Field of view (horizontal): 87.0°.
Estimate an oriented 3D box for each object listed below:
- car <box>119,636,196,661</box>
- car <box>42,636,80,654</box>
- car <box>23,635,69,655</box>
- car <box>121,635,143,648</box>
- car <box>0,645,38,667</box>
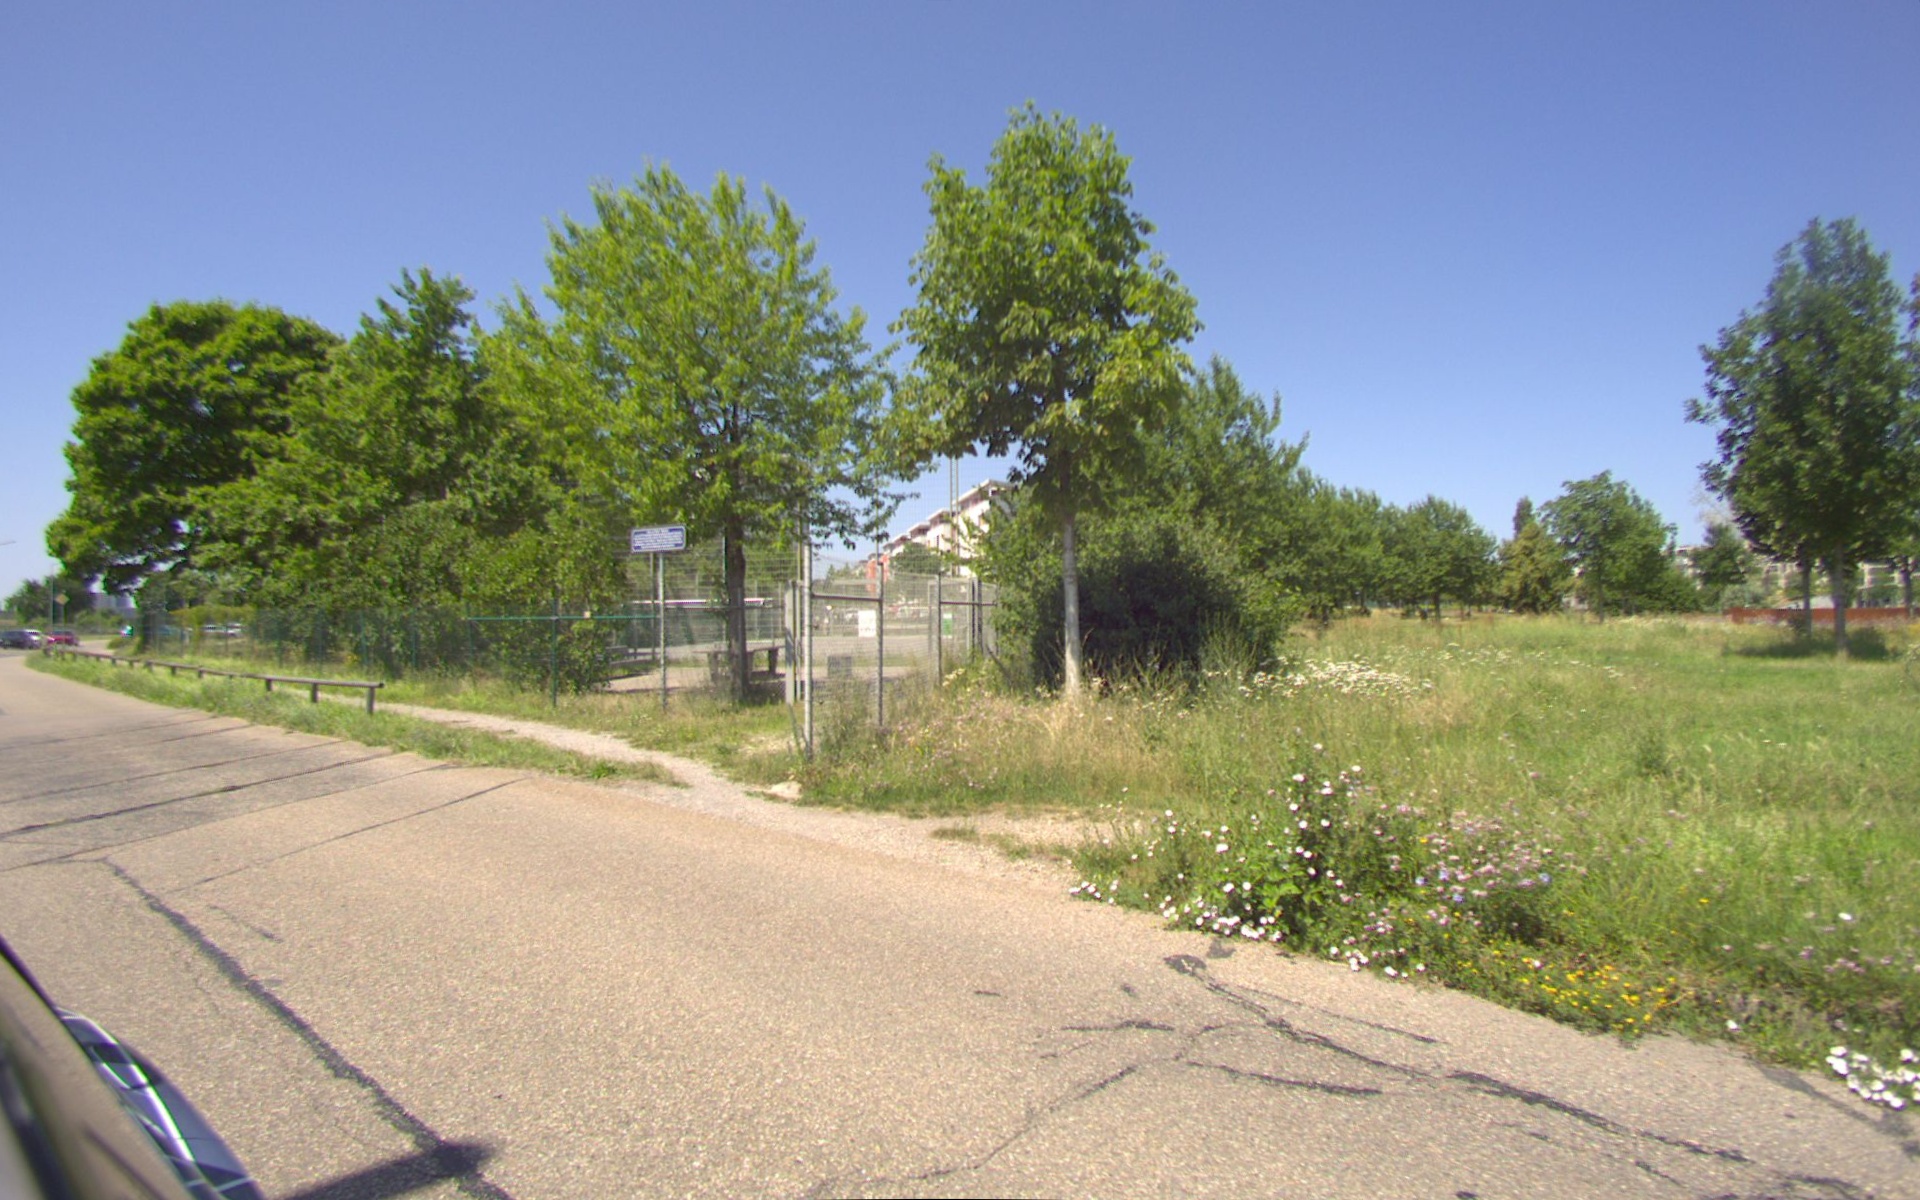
[{"bbox_3d":[-56.089,3.379,70.829,3.931,1.564,1.897,0,-1,-28],"label":"car"},{"bbox_3d":[-79.685,3.993,89.722,1.626,1.478,3.878,0,-1,-28],"label":"car"},{"bbox_3d":[-72.710,3.552,80.589,1.626,1.478,3.879,0,-1,-25],"label":"car"},{"bbox_3d":[-103.865,5.211,126.975,1.627,1.478,3.877,0,-1,-32],"label":"car"},{"bbox_3d":[-70.019,4.121,74.934,1.626,1.478,3.878,0,-1,-26],"label":"car"}]
